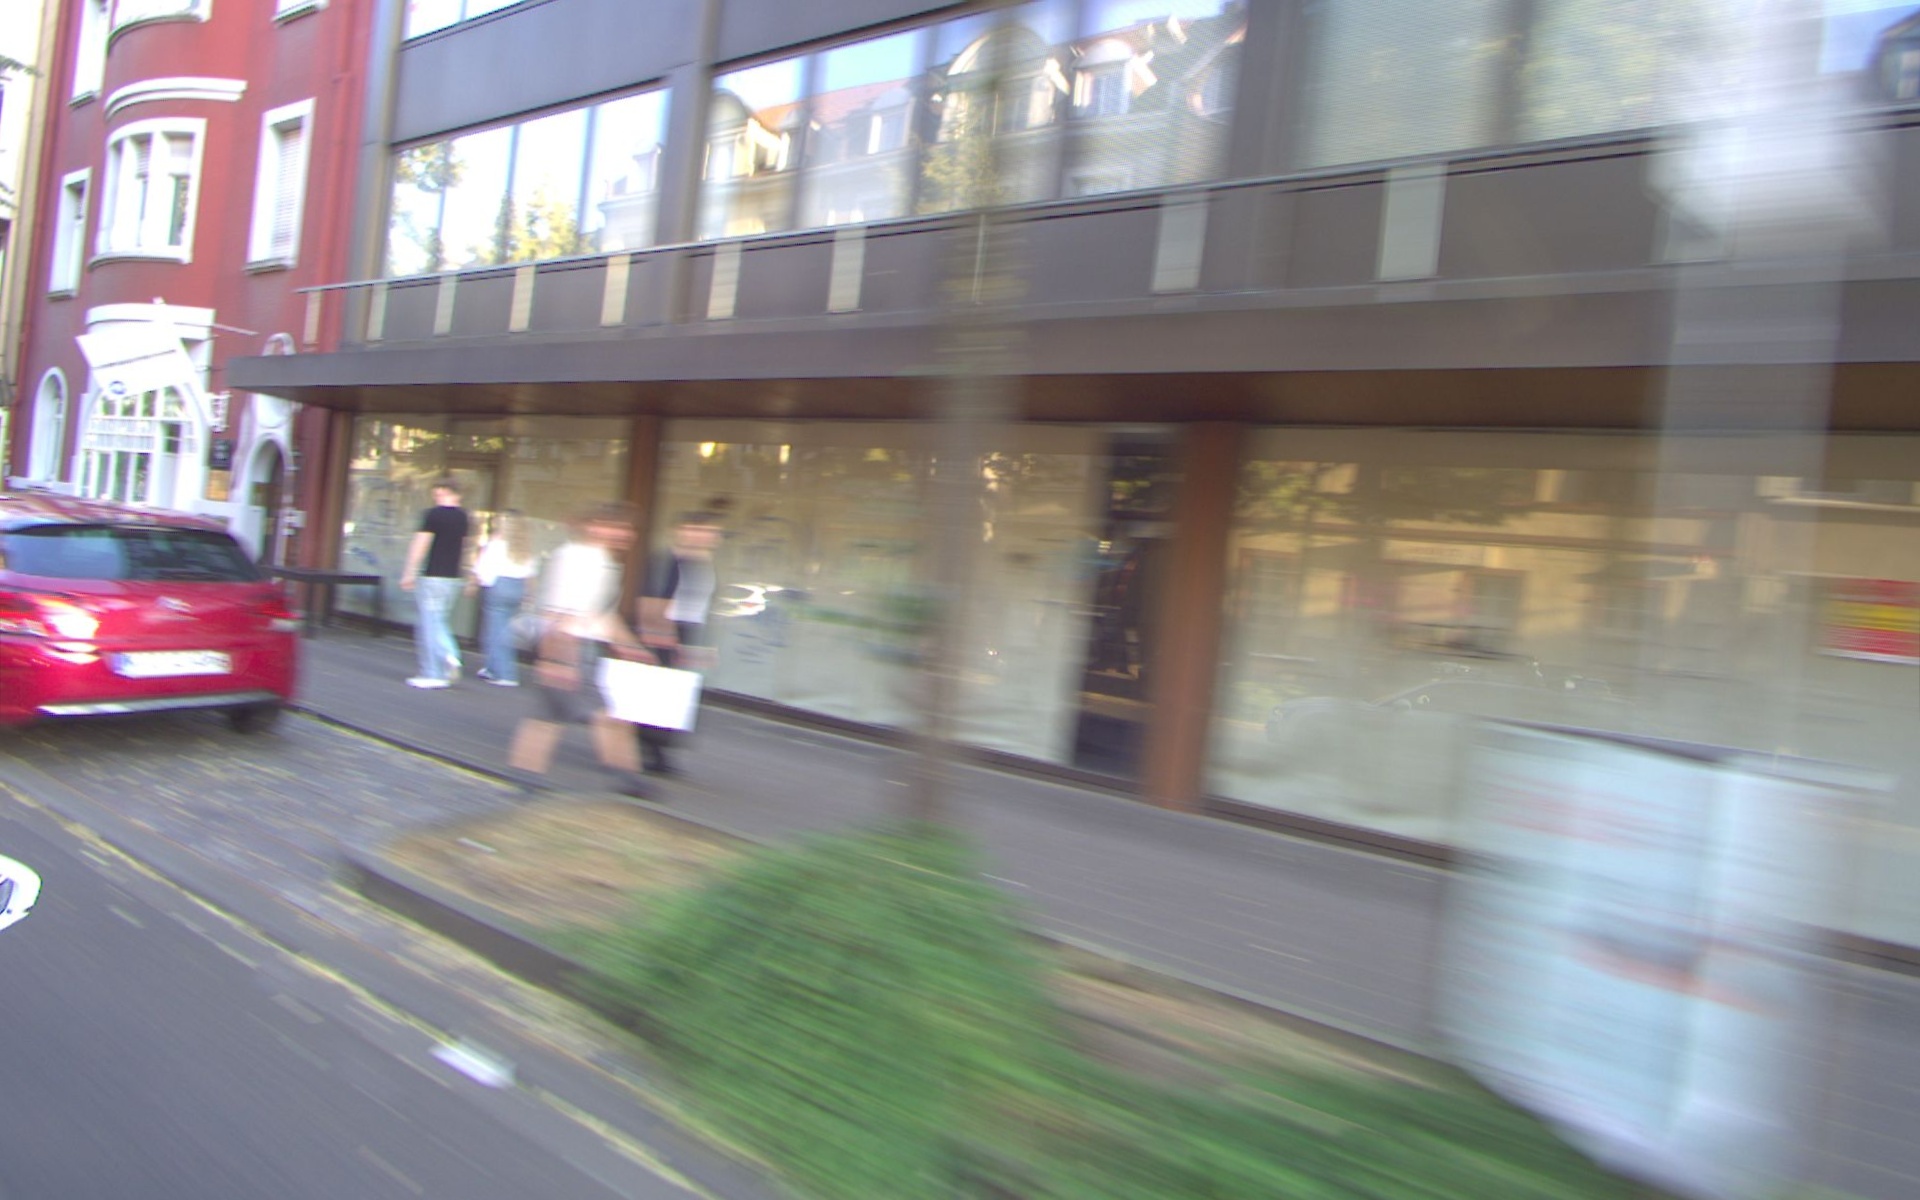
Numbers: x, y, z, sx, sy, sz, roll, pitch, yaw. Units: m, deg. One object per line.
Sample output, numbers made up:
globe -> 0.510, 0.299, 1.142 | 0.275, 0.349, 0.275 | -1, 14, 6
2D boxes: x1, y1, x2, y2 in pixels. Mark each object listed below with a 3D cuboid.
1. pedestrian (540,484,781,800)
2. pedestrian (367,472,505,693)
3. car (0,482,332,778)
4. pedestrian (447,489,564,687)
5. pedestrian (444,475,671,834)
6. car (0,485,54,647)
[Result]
pedestrian -> -1.921, 0.233, 6.533 | 0.928, 1.810, 1.047 | 7, 3, 27
pedestrian -> -4.813, -0.166, 9.242 | 0.960, 1.893, 0.625 | 7, 3, 32
car -> -6.581, -0.037, 7.050 | 4.673, 1.513, 1.723 | 7, 2, 31
pedestrian -> -4.487, -0.122, 9.924 | 0.822, 1.834, 0.589 | 7, 3, 32
pedestrian -> -2.258, 0.262, 5.658 | 0.855, 1.811, 0.730 | 7, 5, 27
car -> -10.981, -0.538, 9.964 | 4.344, 1.490, 1.775 | 7, 2, 31
